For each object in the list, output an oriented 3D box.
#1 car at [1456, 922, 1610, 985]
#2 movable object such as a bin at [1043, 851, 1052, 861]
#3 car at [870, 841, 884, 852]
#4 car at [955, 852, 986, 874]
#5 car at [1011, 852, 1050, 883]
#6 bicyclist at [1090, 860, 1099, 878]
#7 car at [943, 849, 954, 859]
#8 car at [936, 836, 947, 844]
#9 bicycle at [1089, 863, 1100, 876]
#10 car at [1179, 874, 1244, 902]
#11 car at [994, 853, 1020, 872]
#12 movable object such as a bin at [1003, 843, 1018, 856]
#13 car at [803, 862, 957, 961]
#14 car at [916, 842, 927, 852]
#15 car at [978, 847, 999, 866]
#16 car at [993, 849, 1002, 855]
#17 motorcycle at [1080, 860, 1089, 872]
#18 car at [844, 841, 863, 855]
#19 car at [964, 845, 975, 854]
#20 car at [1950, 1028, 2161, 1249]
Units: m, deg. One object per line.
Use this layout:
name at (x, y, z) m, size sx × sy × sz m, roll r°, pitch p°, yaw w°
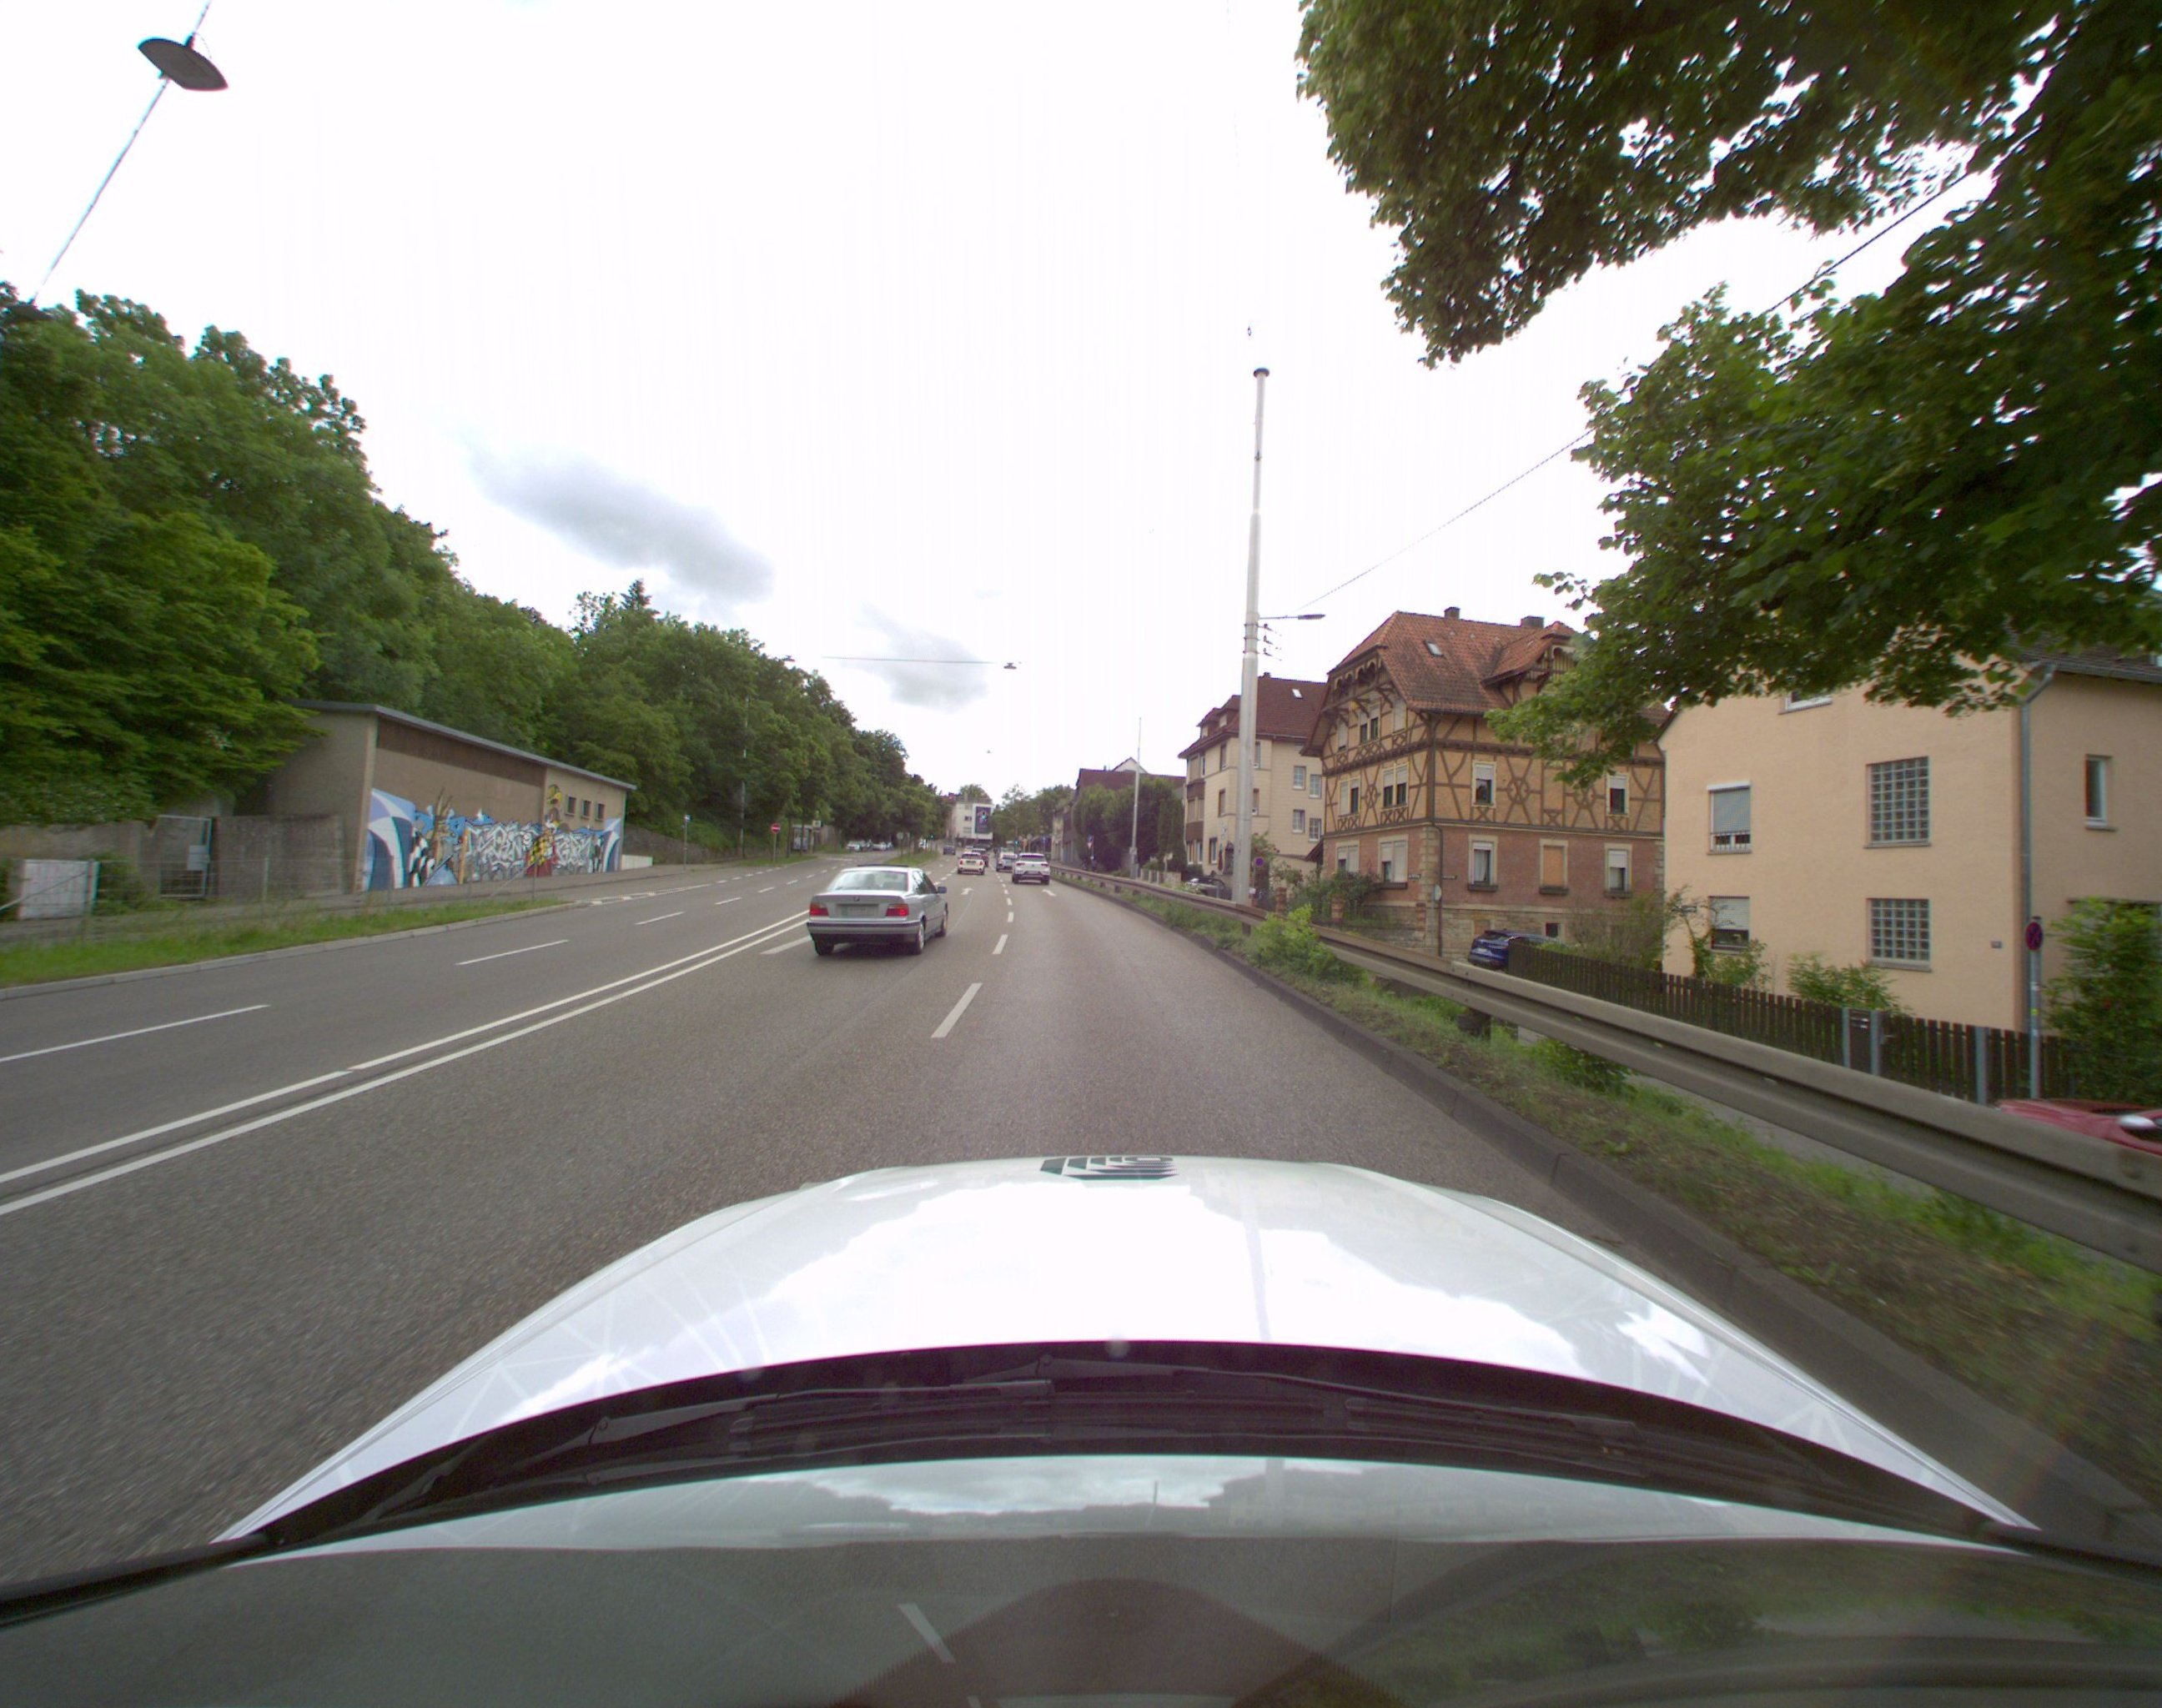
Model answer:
car at (14.827, 3.256, 26.813) m, size 3.987 × 1.574 × 1.993 m, roll 5°, pitch 0°, yaw -10°
movable object such as a bin at (-5.225, 0.308, 127.176) m, size 1.195 × 1.408 × 0.709 m, roll 4°, pitch 0°, yaw -9°
car at (-33.559, -1.236, 134.035) m, size 1.860 × 1.593 × 4.265 m, roll 4°, pitch 0°, yaw -10°
car at (-7.253, 0.579, 53.149) m, size 1.724 × 1.376 × 3.441 m, roll 0°, pitch 0°, yaw -13°
car at (-2.608, 0.659, 41.430) m, size 1.795 × 1.519 × 3.448 m, roll 0°, pitch 0°, yaw -7°
bicyclist at (1.163, 1.250, 69.187) m, size 0.566 × 1.525 × 0.956 m, roll 0°, pitch 1°, yaw -10°
car at (-21.184, -0.011, 130.080) m, size 1.723 × 1.583 × 3.444 m, roll 0°, pitch 0°, yaw -10°
car at (-39.295, -4.006, 229.799) m, size 2.508 × 2.013 × 5.169 m, roll 4°, pitch 0°, yaw -7°
bicycle at (1.124, 1.293, 69.385) m, size 0.566 × 1.063 × 1.999 m, roll 0°, pitch 1°, yaw -10°
car at (8.132, 2.138, 50.804) m, size 3.619 × 1.434 × 1.691 m, roll 5°, pitch 0°, yaw -24°
car at (-5.675, 0.644, 61.997) m, size 1.722 × 1.376 × 3.445 m, roll 0°, pitch 0°, yaw -9°
movable object such as a bin at (-11.214, -0.658, 129.448) m, size 1.896 × 1.870 × 1.520 m, roll 4°, pitch 0°, yaw -17°
car at (-3.257, 0.865, 14.062) m, size 1.630 × 1.383 × 4.616 m, roll -1°, pitch -1°, yaw -2°
car at (-31.713, -1.384, 162.243) m, size 1.859 × 1.670 × 4.267 m, roll 4°, pitch 0°, yaw -9°
car at (-8.584, 0.230, 75.207) m, size 1.723 × 1.640 × 3.444 m, roll 0°, pitch 0°, yaw -10°
car at (-17.542, -0.418, 171.845) m, size 1.722 × 1.376 × 3.446 m, roll 0°, pitch 0°, yaw -8°
motorcycle at (0.356, 1.230, 84.397) m, size 0.608 × 1.162 × 2.036 m, roll 1°, pitch 1°, yaw -7°
car at (-31.268, -0.834, 112.013) m, size 1.860 × 1.670 × 4.265 m, roll 4°, pitch 0°, yaw -10°
car at (-19.030, -0.748, 138.825) m, size 1.722 × 1.376 × 3.446 m, roll 0°, pitch 0°, yaw -8°
car at (11.016, 2.892, 7.262) m, size 1.780 × 1.670 × 4.193 m, roll 3°, pitch 0°, yaw -7°
